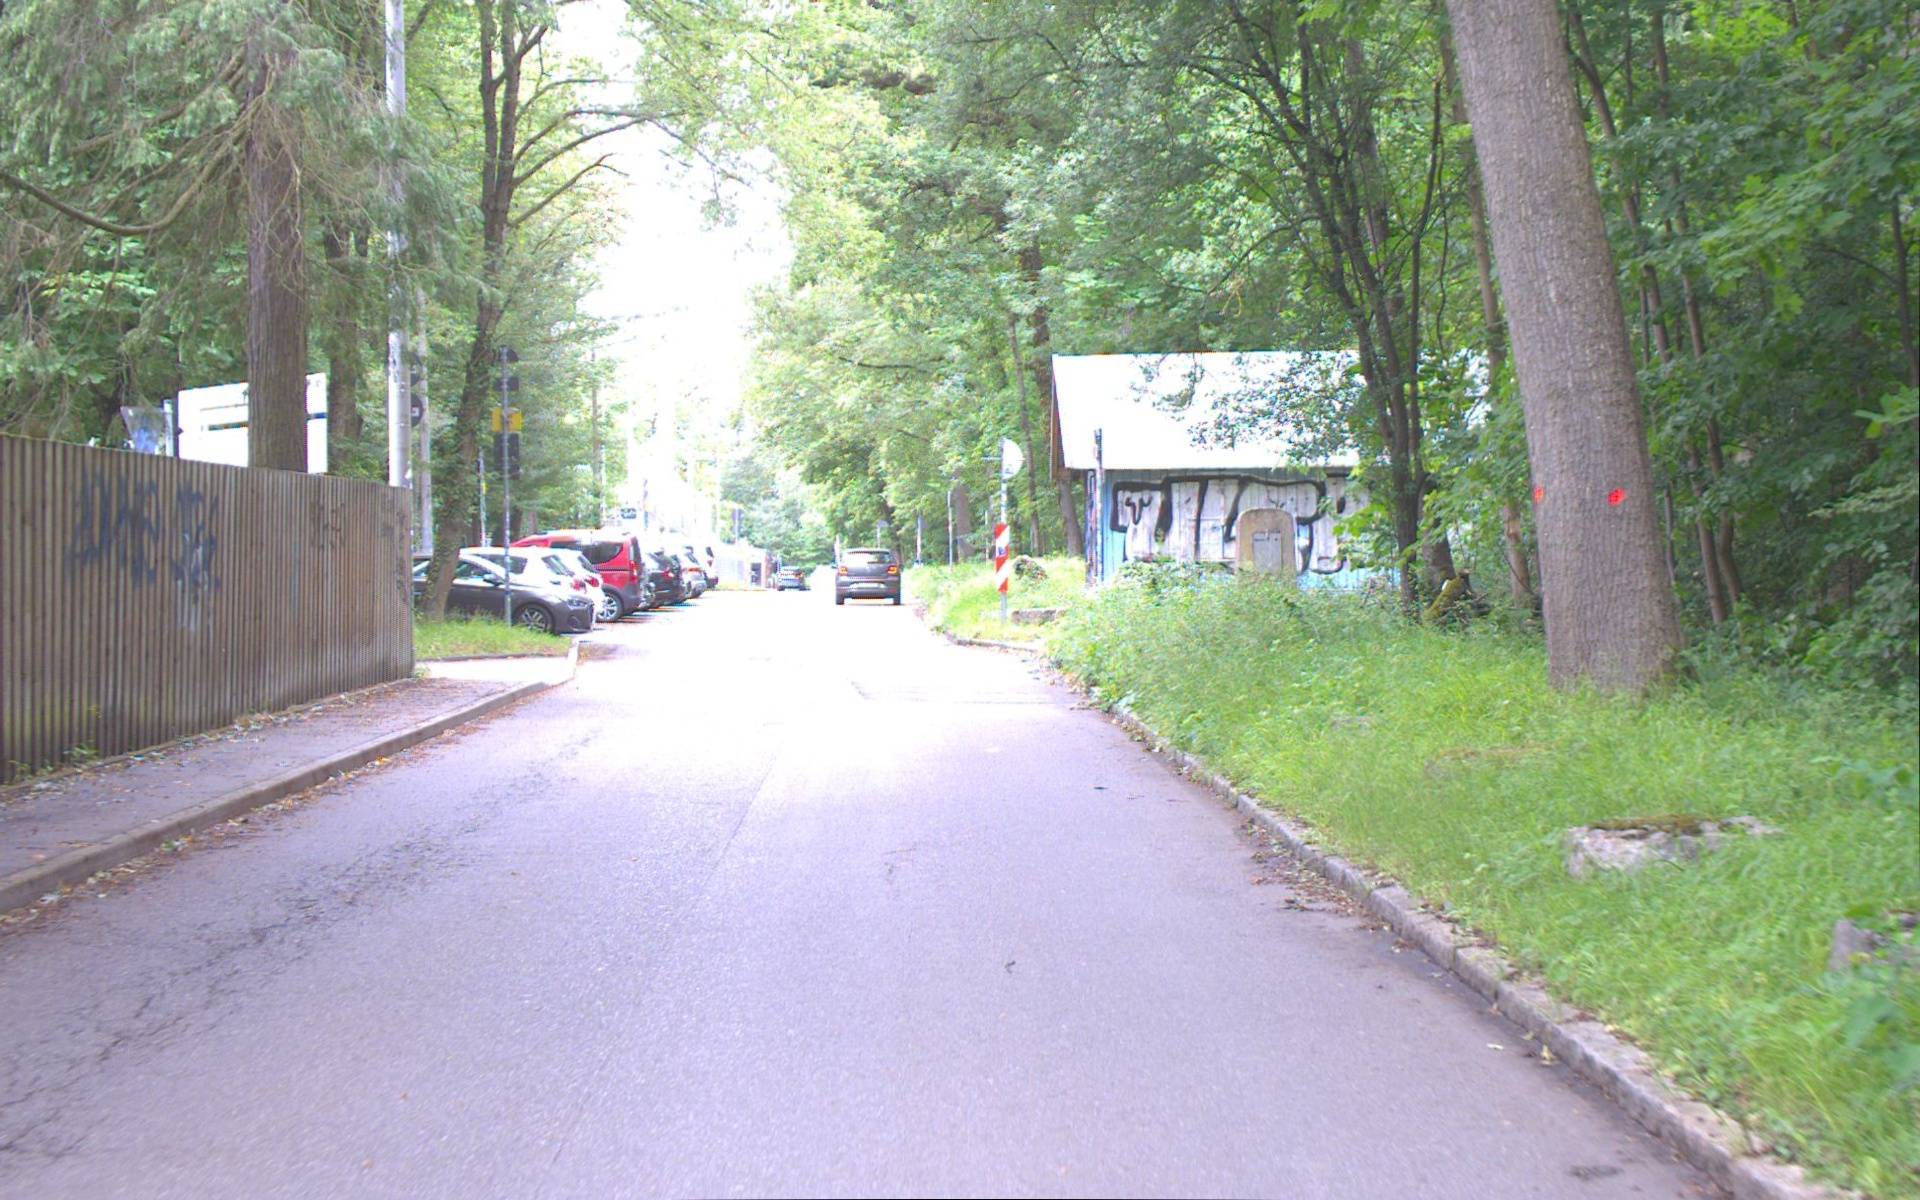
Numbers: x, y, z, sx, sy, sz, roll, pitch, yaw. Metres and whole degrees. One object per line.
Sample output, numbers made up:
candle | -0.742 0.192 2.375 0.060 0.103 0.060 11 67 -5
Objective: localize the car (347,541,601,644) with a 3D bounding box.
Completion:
car | -7.933 -0.137 56.414 3.986 1.568 2.000 -1 1 -5

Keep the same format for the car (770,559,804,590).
car | -11.670 -1.732 231.616 1.993 2.007 4.001 -1 1 -7

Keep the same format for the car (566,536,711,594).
car | -8.253 -0.889 88.409 3.572 1.402 1.650 -1 0 -1

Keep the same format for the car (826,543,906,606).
car | -2.376 -0.648 87.848 1.908 1.503 4.000 2 0 0

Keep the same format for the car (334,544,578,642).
car | -8.568 -0.136 58.734 3.986 1.568 2.000 -1 1 -5

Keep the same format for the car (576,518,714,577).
car | -9.537 -1.584 104.308 3.987 1.590 1.765 -2 0 -2

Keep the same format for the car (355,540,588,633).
car | -8.668 -0.256 61.268 3.986 1.568 2.000 -1 1 -5

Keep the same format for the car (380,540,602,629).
car | -8.743 -0.310 64.357 3.986 1.568 2.000 -1 1 -5

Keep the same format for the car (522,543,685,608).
car | -8.148 -0.570 78.825 3.572 1.402 1.650 -1 0 -1

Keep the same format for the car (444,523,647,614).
car | -8.350 -0.638 69.532 3.986 1.744 2.000 -1 1 -5
